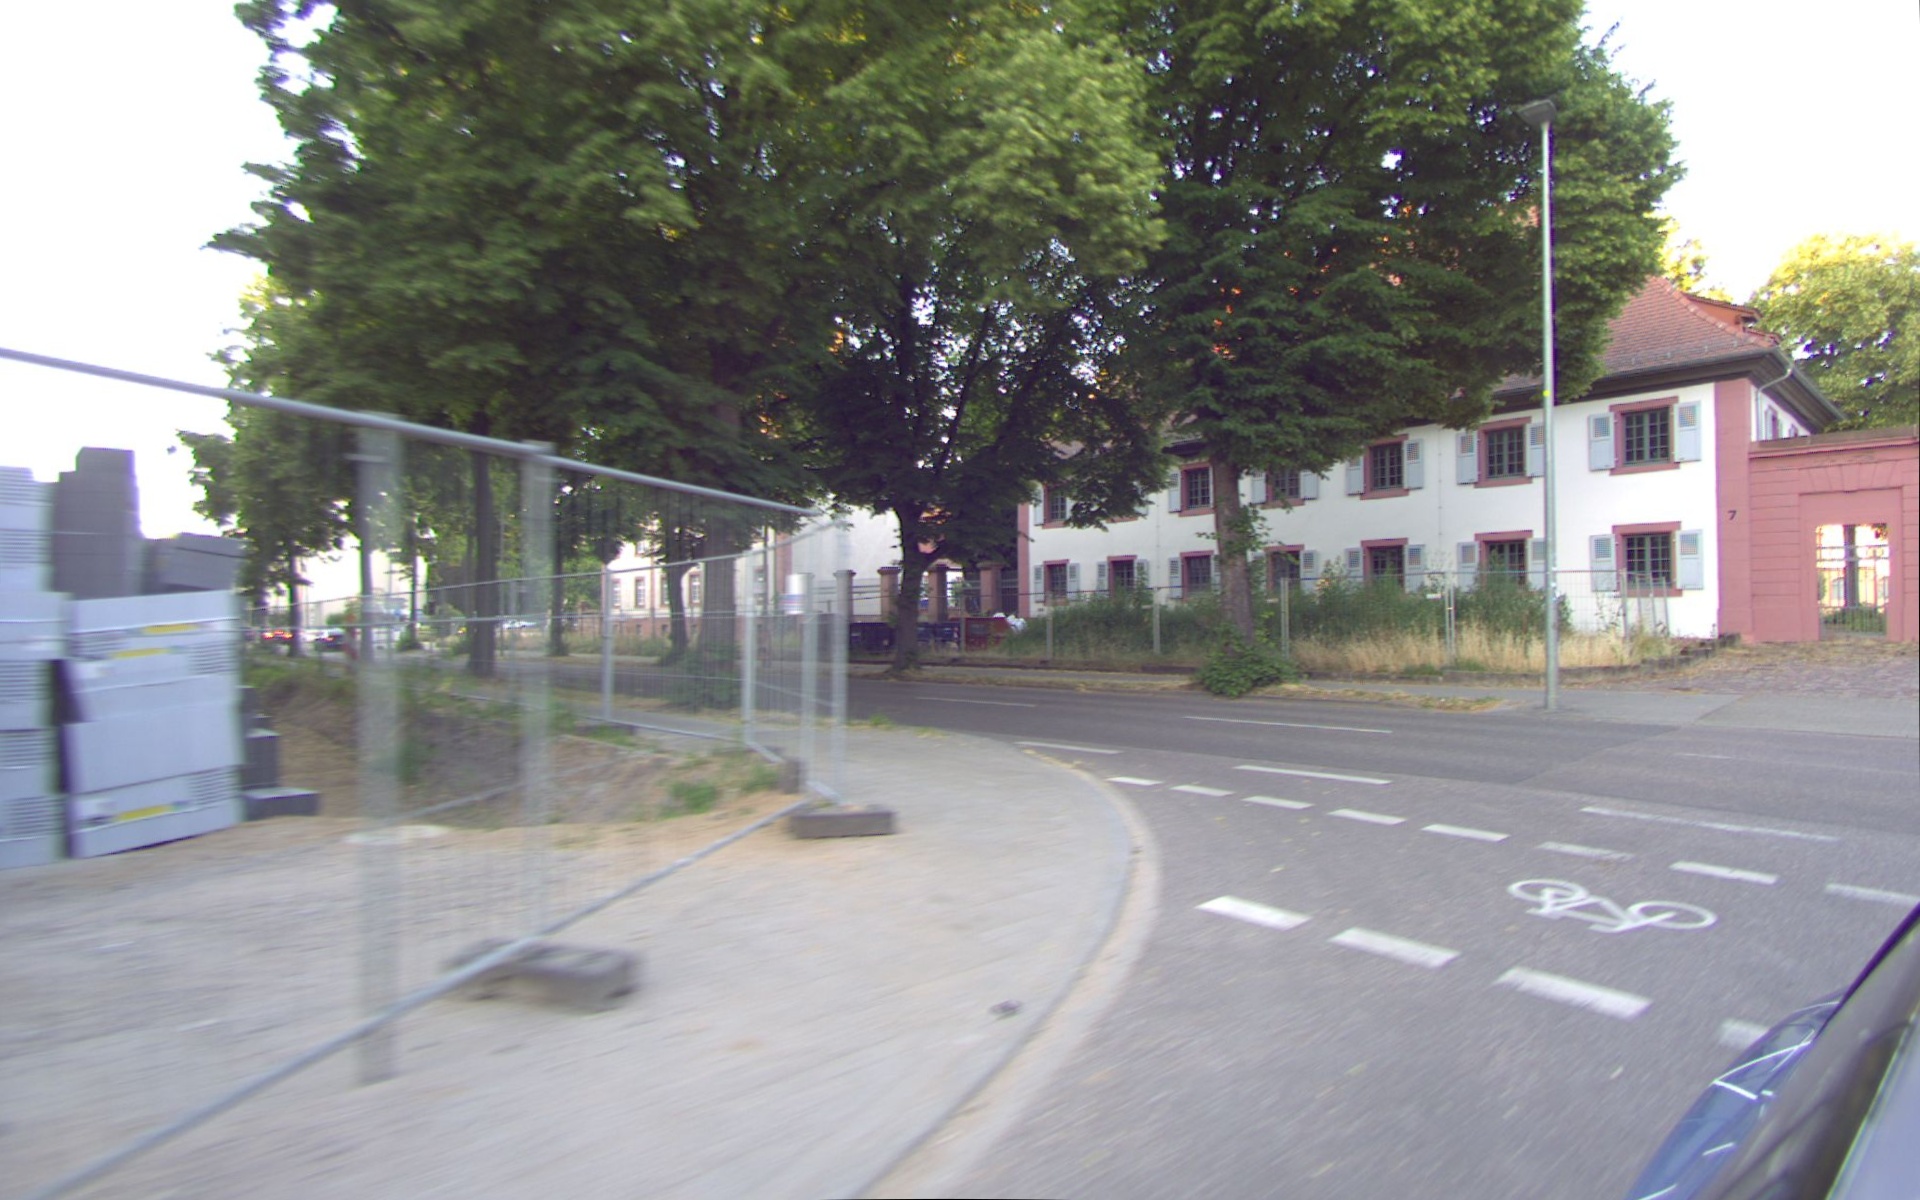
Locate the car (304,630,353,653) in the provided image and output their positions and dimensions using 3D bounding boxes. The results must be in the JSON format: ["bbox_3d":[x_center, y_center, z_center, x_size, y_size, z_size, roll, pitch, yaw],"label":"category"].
[{"bbox_3d":[-40.499,2.641,64.872,1.920,1.344,3.991,3,-3,-42],"label":"car"}]
